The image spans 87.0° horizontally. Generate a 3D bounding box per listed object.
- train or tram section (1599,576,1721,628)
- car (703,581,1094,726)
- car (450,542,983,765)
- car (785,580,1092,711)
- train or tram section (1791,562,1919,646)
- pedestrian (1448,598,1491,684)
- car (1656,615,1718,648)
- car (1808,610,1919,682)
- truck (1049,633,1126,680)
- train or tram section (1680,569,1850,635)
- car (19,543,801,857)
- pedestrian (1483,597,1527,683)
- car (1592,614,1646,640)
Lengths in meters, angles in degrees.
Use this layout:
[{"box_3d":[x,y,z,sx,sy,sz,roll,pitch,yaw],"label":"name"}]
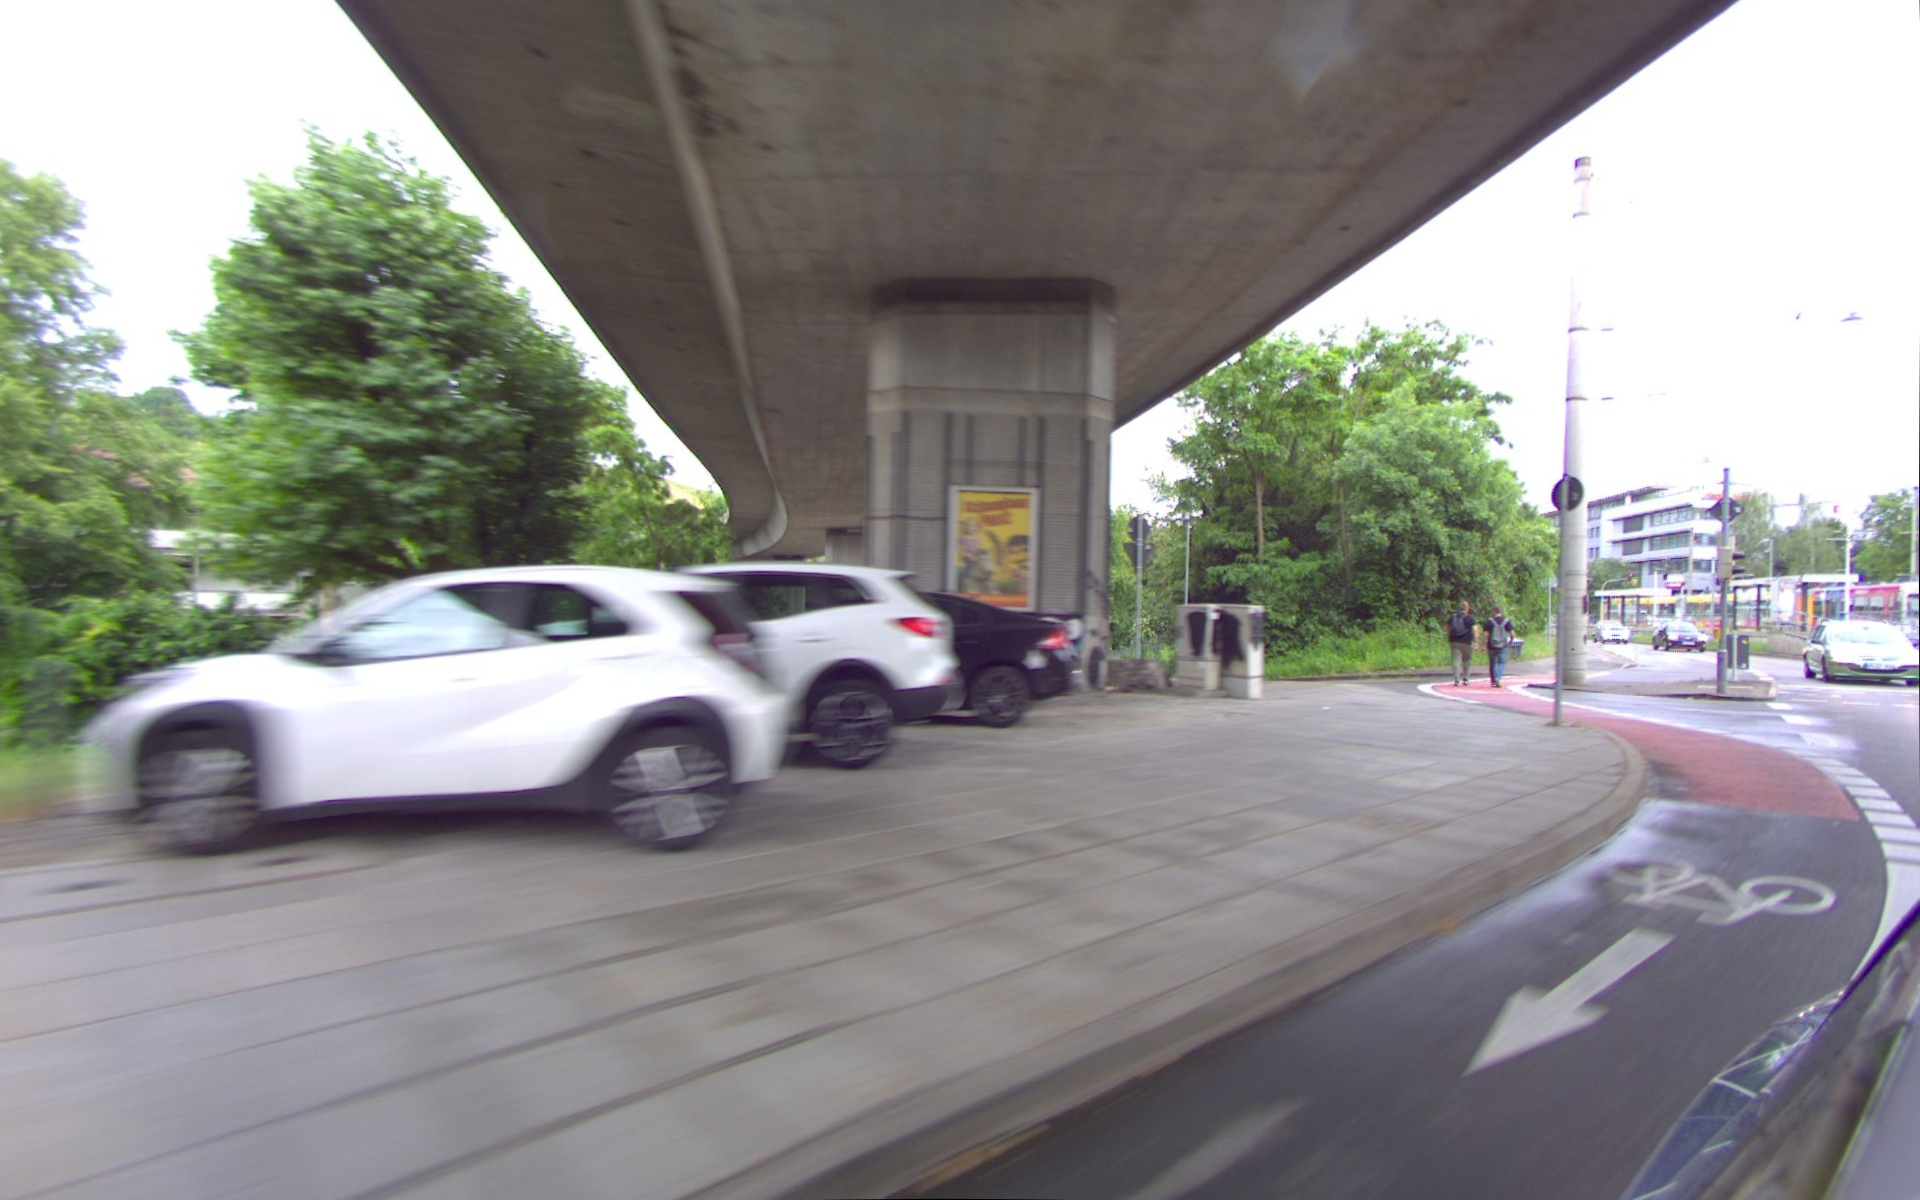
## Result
[{"box_3d":[61.508,0.170,89.751,2.837,4.023,19.227,-1,0,16],"label":"train or tram section"},{"box_3d":[-0.672,0.552,11.203,3.969,1.458,1.788,0,-1,-4],"label":"car"},{"box_3d":[-1.877,0.406,8.602,3.944,1.651,1.969,0,0,-4],"label":"car"},{"box_3d":[-0.310,0.590,14.013,3.922,1.592,1.906,-1,-1,-2],"label":"car"},{"box_3d":[49.564,0.165,53.451,2.843,4.021,19.190,-2,-1,21],"label":"train or tram section"},{"box_3d":[11.339,0.895,22.499,0.596,1.845,0.896,-2,-1,42],"label":"pedestrian"},{"box_3d":[36.979,1.560,51.548,1.762,1.520,3.967,0,0,24],"label":"car"},{"box_3d":[22.112,1.060,24.480,1.767,1.520,3.956,2,1,31],"label":"car"},{"box_3d":[6.215,2.741,50.100,2.654,2.039,5.768,0,0,-5],"label":"truck"},{"box_3d":[56.048,0.155,71.456,2.839,4.004,19.212,-1,0,18],"label":"train or tram section"},{"box_3d":[-2.865,0.502,6.014,3.661,1.541,1.804,0,0,-4],"label":"car"},{"box_3d":[11.887,0.863,22.066,0.625,1.831,0.823,-2,-1,41],"label":"pedestrian"},{"box_3d":[43.573,1.755,67.006,1.974,1.592,3.976,-1,-1,19],"label":"car"}]
